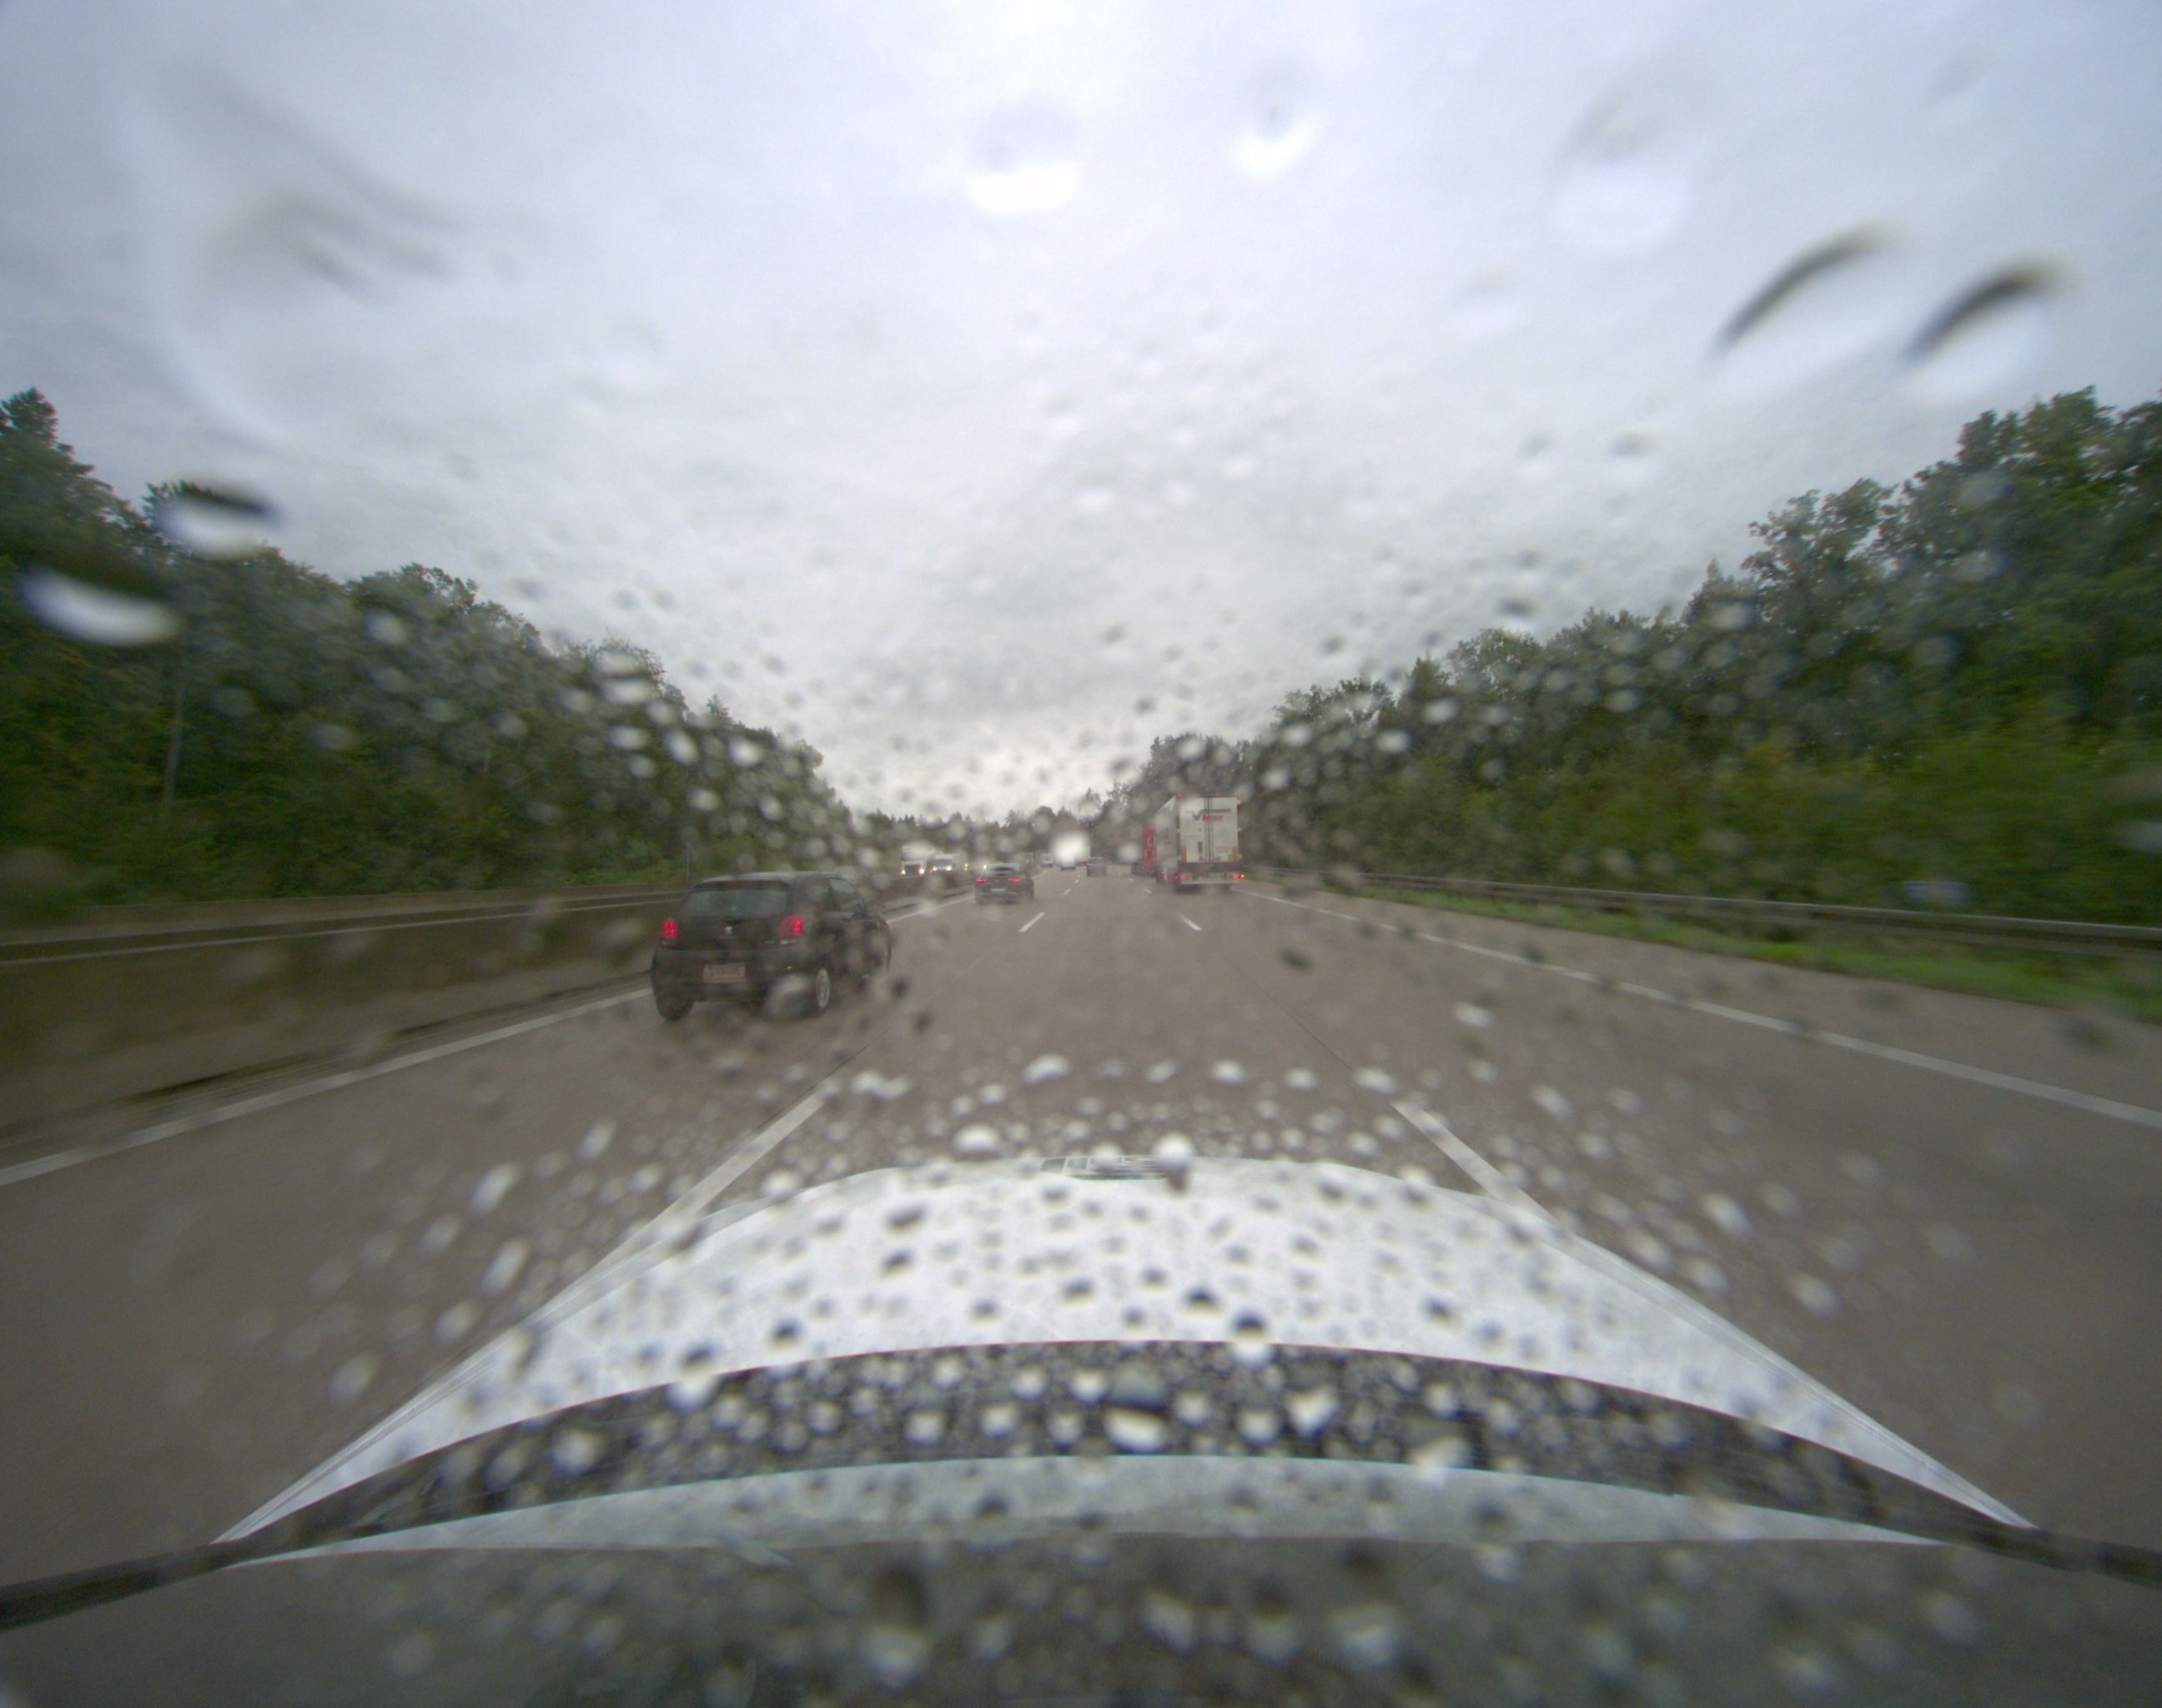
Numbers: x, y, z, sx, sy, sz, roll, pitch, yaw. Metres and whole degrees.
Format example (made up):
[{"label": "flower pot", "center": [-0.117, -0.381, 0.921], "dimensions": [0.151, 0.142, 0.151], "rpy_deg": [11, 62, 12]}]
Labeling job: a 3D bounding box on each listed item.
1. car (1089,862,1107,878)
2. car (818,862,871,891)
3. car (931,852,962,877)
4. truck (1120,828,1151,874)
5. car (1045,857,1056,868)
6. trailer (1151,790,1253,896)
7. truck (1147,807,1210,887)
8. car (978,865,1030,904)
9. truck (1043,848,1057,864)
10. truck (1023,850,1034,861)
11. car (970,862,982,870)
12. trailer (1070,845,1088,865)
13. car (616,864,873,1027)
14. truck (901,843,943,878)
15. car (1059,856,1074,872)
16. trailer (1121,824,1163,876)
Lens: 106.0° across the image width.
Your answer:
[{"label": "car", "center": [1.490, 1.370, 71.406], "dimensions": [1.548, 1.351, 3.684], "rpy_deg": [0, 0, 1]}, {"label": "car", "center": [-13.931, 1.307, 48.245], "dimensions": [1.602, 1.554, 4.644], "rpy_deg": [-1, 0, 2]}, {"label": "car", "center": [-13.848, 1.050, 84.180], "dimensions": [1.986, 2.449, 6.746], "rpy_deg": [-1, 0, 1]}, {"label": "truck", "center": [4.896, -0.254, 74.518], "dimensions": [2.368, 3.954, 6.157], "rpy_deg": [0, 0, -1]}, {"label": "car", "center": [-5.976, 1.619, 158.651], "dimensions": [1.990, 2.059, 3.994], "rpy_deg": [-2, 0, -4]}, {"label": "trailer", "center": [5.360, -0.407, 39.093], "dimensions": [2.726, 4.103, 13.679], "rpy_deg": [-2, 0, 0]}, {"label": "truck", "center": [5.362, -0.364, 45.796], "dimensions": [2.789, 4.103, 5.968], "rpy_deg": [-2, 0, 1]}, {"label": "car", "center": [-2.806, 1.083, 30.223], "dimensions": [1.548, 1.351, 3.683], "rpy_deg": [0, 0, 0]}, {"label": "truck", "center": [-8.677, 0.553, 224.380], "dimensions": [3.363, 4.131, 10.420], "rpy_deg": [-1, 0, -5]}, {"label": "truck", "center": [-14.942, 0.464, 230.517], "dimensions": [3.076, 2.905, 7.893], "rpy_deg": [-1, 1, -4]}, {"label": "car", "center": [-18.698, 2.152, 145.258], "dimensions": [1.797, 1.333, 4.560], "rpy_deg": [-1, 0, -2]}, {"label": "trailer", "center": [-0.482, 0.150, 173.018], "dimensions": [2.418, 4.068, 12.024], "rpy_deg": [-1, 0, -7]}, {"label": "car", "center": [-3.567, 0.856, 9.369], "dimensions": [1.681, 1.462, 3.677], "rpy_deg": [0, 0, -5]}, {"label": "truck", "center": [-17.824, 0.672, 91.972], "dimensions": [2.555, 3.667, 10.491], "rpy_deg": [-1, 0, 1]}, {"label": "car", "center": [-1.962, 1.351, 111.325], "dimensions": [1.722, 2.013, 3.651], "rpy_deg": [-2, 0, -4]}, {"label": "trailer", "center": [4.931, -0.293, 67.824], "dimensions": [2.363, 3.954, 12.515], "rpy_deg": [0, 0, -1]}]
